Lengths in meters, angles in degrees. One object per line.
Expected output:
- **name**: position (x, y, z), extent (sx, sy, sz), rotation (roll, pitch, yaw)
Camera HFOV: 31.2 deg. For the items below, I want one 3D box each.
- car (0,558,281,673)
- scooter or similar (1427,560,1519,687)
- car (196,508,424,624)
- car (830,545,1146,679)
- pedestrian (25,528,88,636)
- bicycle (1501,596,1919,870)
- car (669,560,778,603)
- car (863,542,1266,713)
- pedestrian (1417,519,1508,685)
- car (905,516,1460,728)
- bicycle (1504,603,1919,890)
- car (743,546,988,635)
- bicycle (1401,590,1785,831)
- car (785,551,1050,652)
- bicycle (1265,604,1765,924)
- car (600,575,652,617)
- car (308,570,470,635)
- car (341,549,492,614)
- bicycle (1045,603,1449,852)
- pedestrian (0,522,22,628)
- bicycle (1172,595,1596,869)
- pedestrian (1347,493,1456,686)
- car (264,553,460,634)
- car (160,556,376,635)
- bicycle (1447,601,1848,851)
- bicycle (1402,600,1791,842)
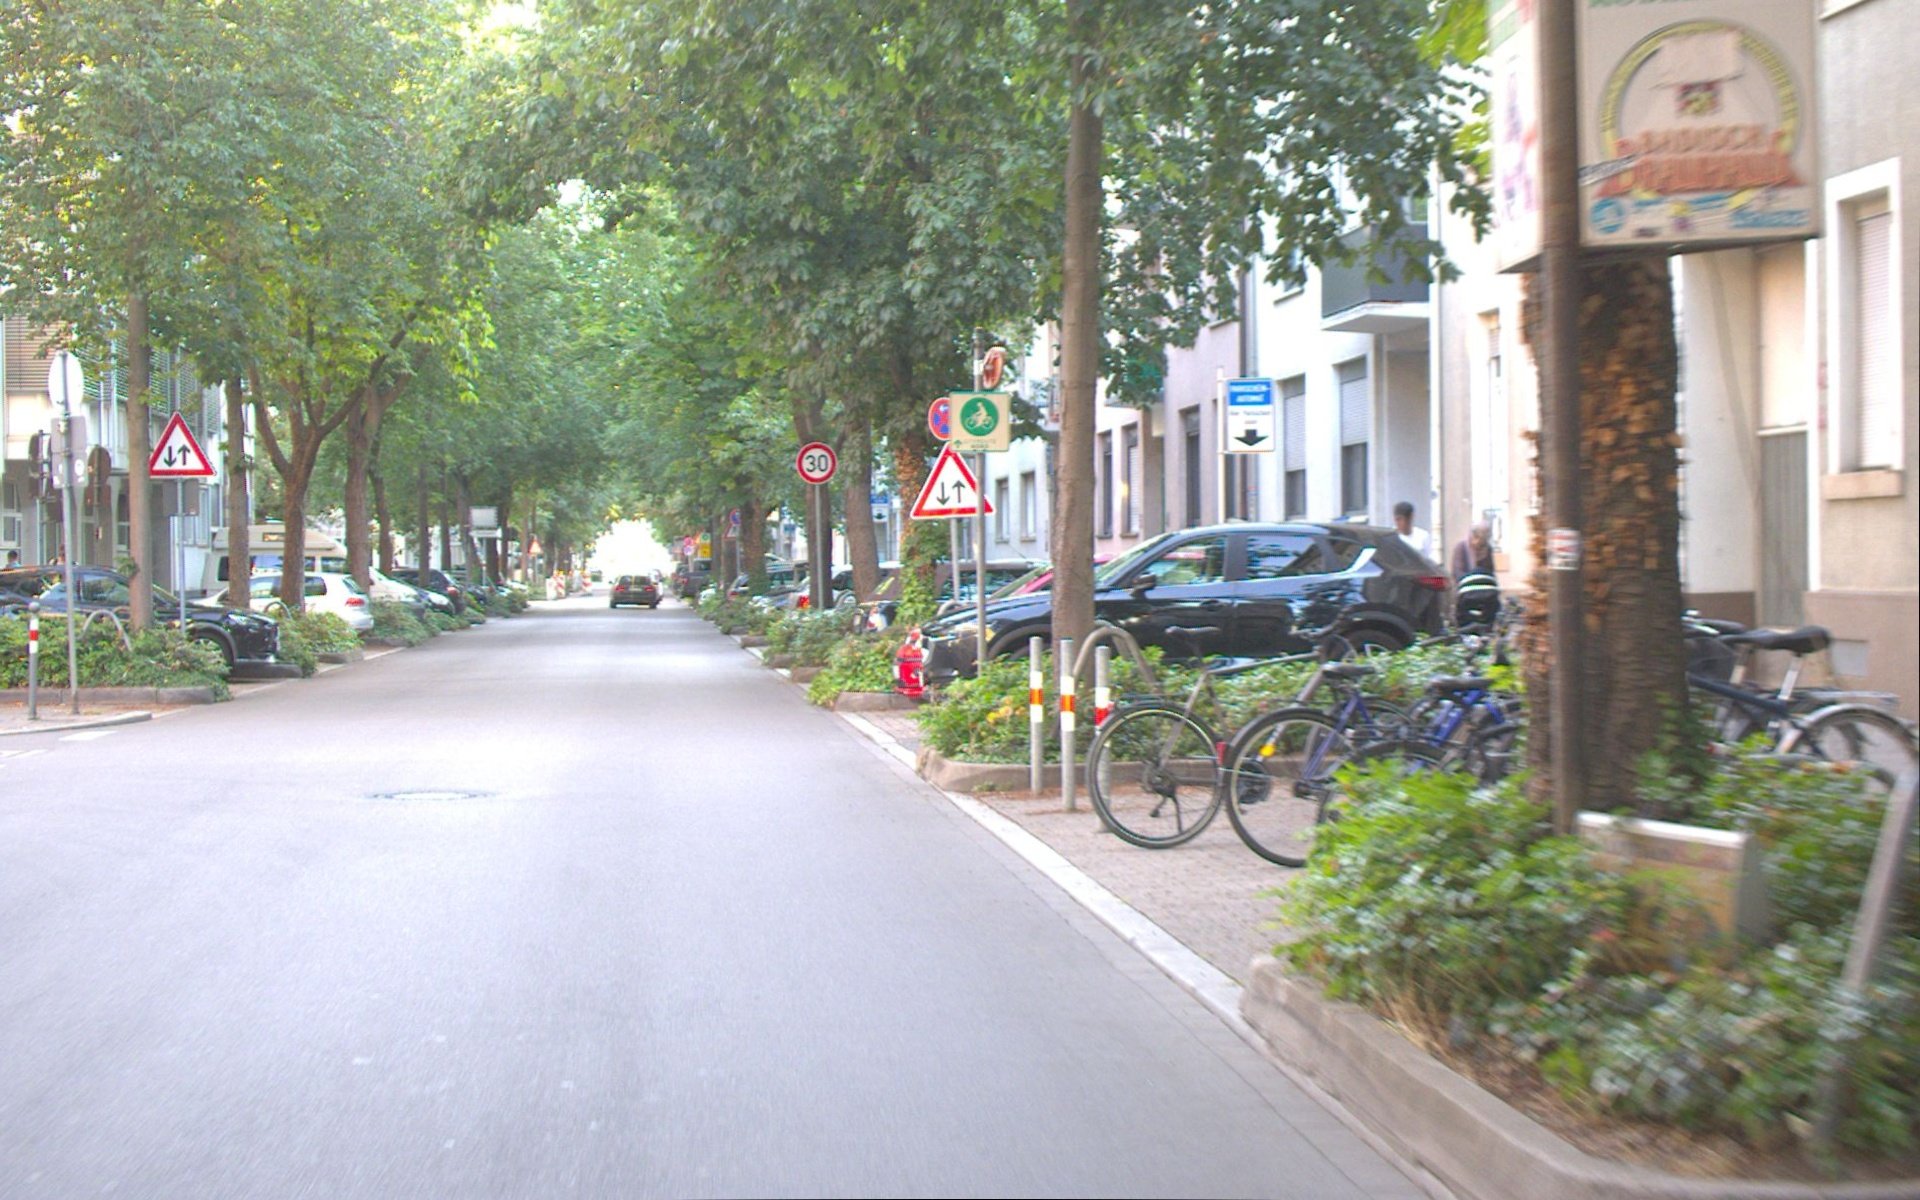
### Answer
- **car**: position (-11.199, 0.194, 45.627), extent (4.126, 1.481, 1.930), rotation (0, 1, -6)
- **scooter or similar**: position (4.749, 0.211, 31.844), extent (0.655, 1.149, 0.831), rotation (-1, 1, -4)
- **car**: position (-14.094, -0.734, 74.741), extent (4.681, 2.469, 2.000), rotation (0, 0, -5)
- **car**: position (0.300, 0.117, 40.700), extent (3.482, 1.447, 1.900), rotation (-2, 1, -7)
- **pedestrian**: position (-14.755, -0.289, 56.126), extent (0.704, 1.751, 0.739), rotation (0, 0, 19)
- **bicycle**: position (3.423, 0.581, 15.546), extent (1.794, 1.139, 0.651), rotation (-2, 1, -14)
- **car**: position (-9.541, -0.735, 138.356), extent (4.267, 1.560, 1.963), rotation (-2, 0, -5)
- **car**: position (0.935, 0.229, 32.145), extent (3.482, 1.447, 1.900), rotation (-2, 1, -7)
- **pedestrian**: position (4.709, 0.014, 32.261), extent (0.655, 1.531, 0.831), rotation (-1, 1, -4)
- **car**: position (1.809, 0.161, 28.911), extent (4.425, 1.650, 1.900), rotation (-1, 1, -4)
- **bicycle**: position (3.310, 0.605, 14.716), extent (1.794, 1.124, 0.664), rotation (-2, 1, -11)
- **car**: position (-1.872, -0.200, 67.295), extent (4.717, 1.704, 1.950), rotation (0, 1, -3)
- **bicycle**: position (3.234, 0.547, 17.594), extent (1.794, 1.139, 0.669), rotation (-2, 1, -14)
- **car**: position (-0.688, 0.007, 53.430), extent (3.875, 1.435, 1.848), rotation (-2, 1, -8)
- **bicycle**: position (2.195, 0.633, 13.706), extent (1.829, 1.174, 0.673), rotation (-2, 1, -6)
- **car**: position (-13.271, -0.161, 136.681), extent (1.956, 1.560, 4.283), rotation (-2, 0, -5)
- **car**: position (-15.725, 0.054, 94.852), extent (4.202, 1.630, 1.963), rotation (-2, 0, -5)
- **car**: position (-17.974, -0.608, 113.878), extent (4.761, 1.977, 1.963), rotation (-2, 0, -5)
- **bicycle**: position (1.423, 0.612, 17.123), extent (1.837, 1.131, 0.745), rotation (-2, 1, -15)
- **pedestrian**: position (-15.909, -0.412, 56.674), extent (0.703, 1.722, 0.905), rotation (0, 0, -5)
- **bicycle**: position (1.949, 0.597, 15.897), extent (1.829, 1.174, 0.601), rotation (-2, 1, -6)
- **pedestrian**: position (4.043, -0.103, 31.478), extent (0.689, 1.731, 0.674), rotation (-2, 1, -36)
- **car**: position (-15.133, -0.168, 87.149), extent (4.681, 1.848, 1.963), rotation (-2, 0, -5)
- **car**: position (-13.343, -0.089, 66.453), extent (3.870, 1.481, 1.757), rotation (0, 0, -3)
- **bicycle**: position (3.274, 0.585, 16.388), extent (1.794, 1.104, 0.500), rotation (-2, 1, -10)
- **bicycle**: position (3.123, 0.581, 16.896), extent (1.794, 1.104, 0.500), rotation (-2, 1, -10)
